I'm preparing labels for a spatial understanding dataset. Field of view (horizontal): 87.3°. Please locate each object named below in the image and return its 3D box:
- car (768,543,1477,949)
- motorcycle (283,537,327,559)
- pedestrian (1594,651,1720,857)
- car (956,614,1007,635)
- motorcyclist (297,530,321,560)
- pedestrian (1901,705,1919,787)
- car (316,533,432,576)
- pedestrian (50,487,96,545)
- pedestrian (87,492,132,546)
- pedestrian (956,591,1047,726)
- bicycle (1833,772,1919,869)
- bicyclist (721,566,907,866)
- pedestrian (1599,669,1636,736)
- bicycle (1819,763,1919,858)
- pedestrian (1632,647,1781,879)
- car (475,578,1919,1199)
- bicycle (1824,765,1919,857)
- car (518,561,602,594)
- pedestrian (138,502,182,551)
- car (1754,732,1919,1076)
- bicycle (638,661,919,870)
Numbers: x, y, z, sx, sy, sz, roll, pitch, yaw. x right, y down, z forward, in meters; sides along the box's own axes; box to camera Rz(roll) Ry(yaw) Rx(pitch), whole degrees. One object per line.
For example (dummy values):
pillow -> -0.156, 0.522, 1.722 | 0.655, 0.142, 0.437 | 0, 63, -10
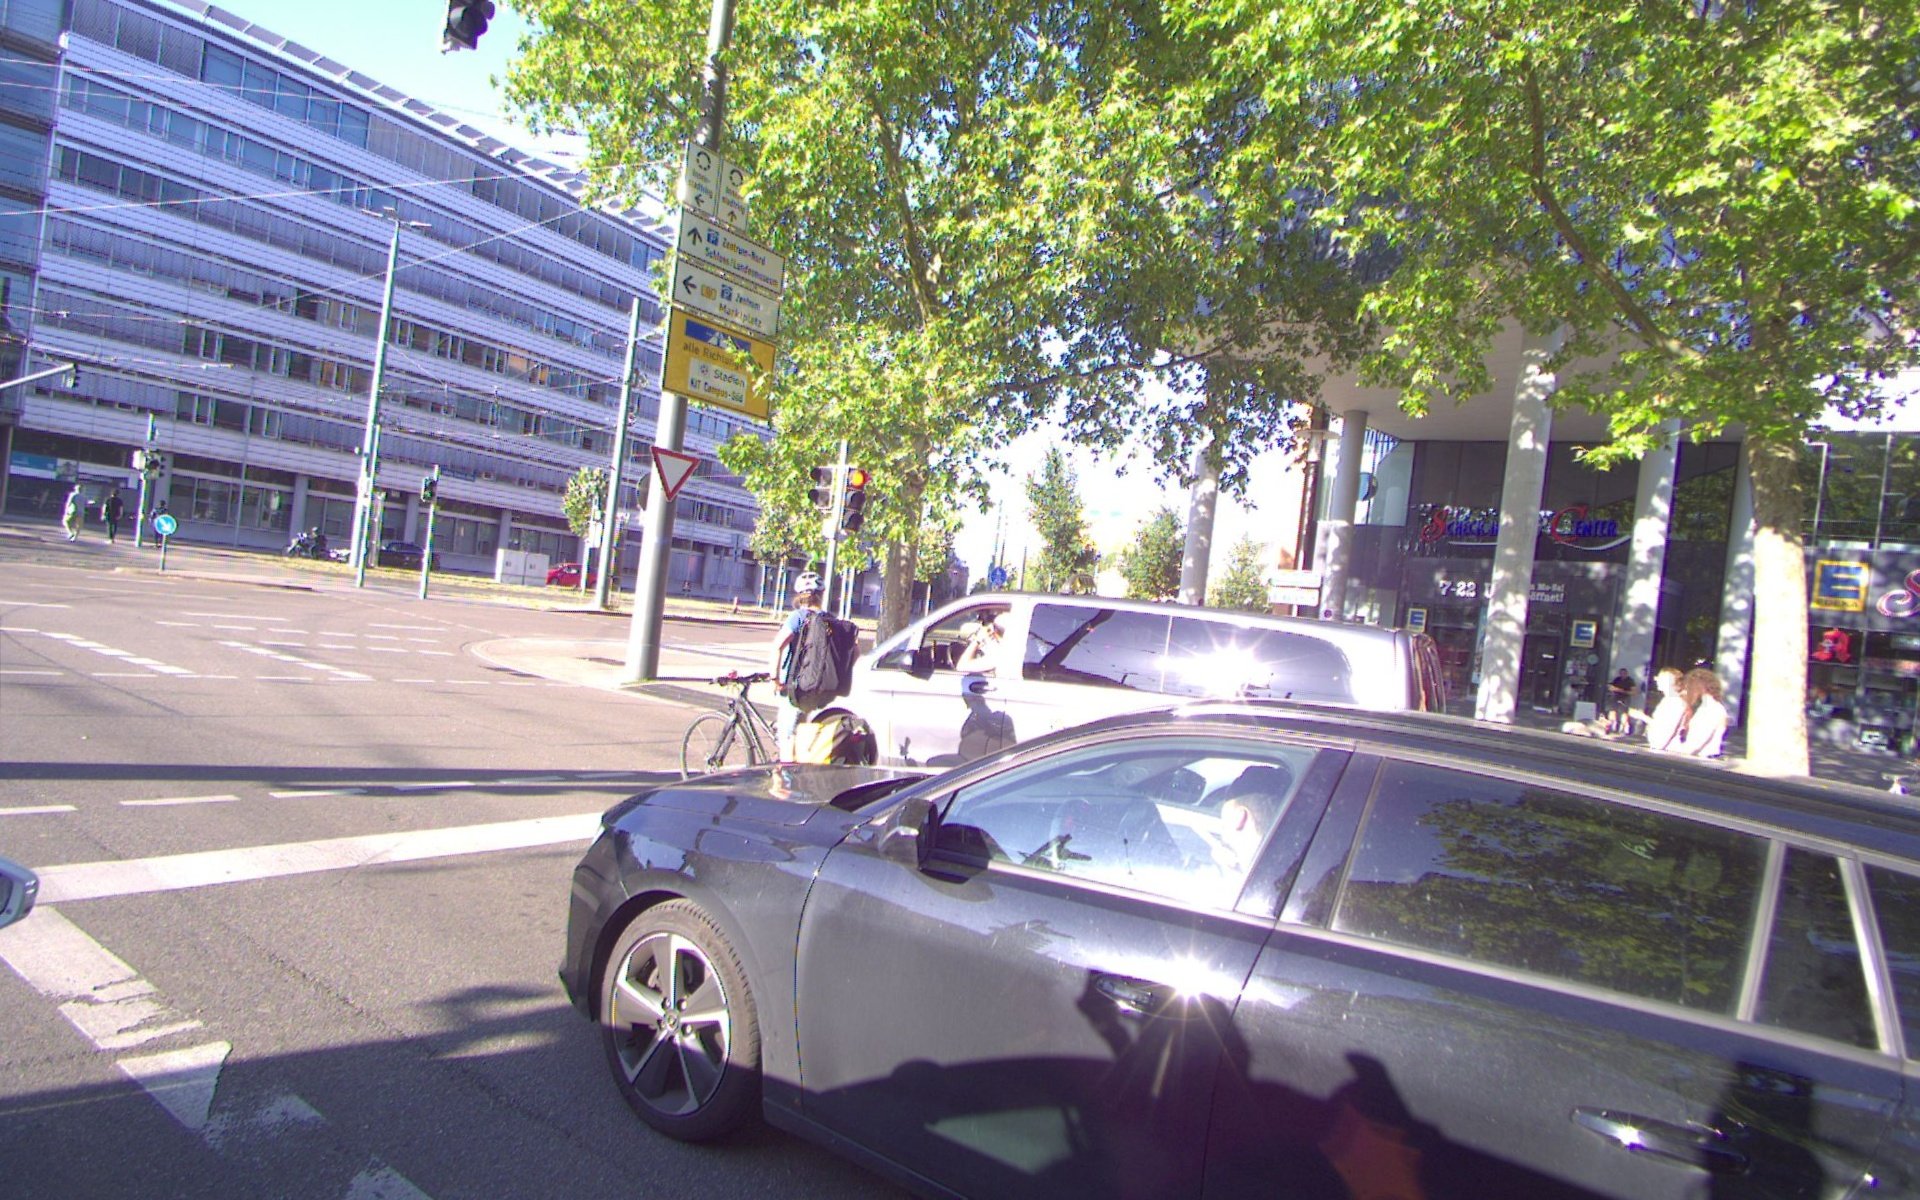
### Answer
car -> 1.112, 0.844, 7.960 | 5.012, 2.004, 1.939 | 7, 0, 31
motorcycle -> -30.120, -2.379, 46.281 | 0.460, 0.820, 1.568 | 7, 0, 36
pedestrian -> 6.662, 1.441, 9.658 | 0.751, 1.799, 0.647 | 7, 1, 30
car -> 1.838, 2.069, 84.509 | 1.758, 1.353, 4.605 | 7, 0, 37
motorcyclist -> -30.030, -2.537, 46.388 | 0.452, 1.291, 0.712 | 7, 1, 36
pedestrian -> 21.004, 3.193, 21.609 | 0.704, 1.728, 0.806 | 7, 1, 16
car -> -26.872, -2.057, 46.223 | 1.758, 1.415, 4.157 | 7, 0, 37
pedestrian -> -29.644, -2.794, 33.624 | 0.857, 1.811, 0.865 | 6, 1, -30
pedestrian -> -29.606, -2.813, 35.024 | 1.020, 1.706, 0.912 | 7, 1, 39
pedestrian -> 0.603, 0.831, 14.251 | 0.729, 1.769, 1.092 | 7, 0, 25
bicycle -> 10.544, 2.480, 11.102 | 1.233, 0.898, 0.462 | 7, 1, 32
bicyclist -> -0.919, 0.698, 6.386 | 0.766, 1.714, 0.632 | 7, 1, 32
pedestrian -> 17.499, 2.732, 26.769 | 0.598, 1.707, 0.511 | 6, 1, -41
bicycle -> 11.202, 2.546, 12.088 | 0.437, 0.930, 1.210 | 6, 0, -39
pedestrian -> 6.599, 1.406, 8.944 | 0.800, 1.868, 0.642 | 7, 1, 30
car -> 0.818, 0.936, 2.728 | 4.199, 1.431, 1.742 | 7, -2, 32
bicycle -> 11.500, 2.608, 12.360 | 0.460, 0.938, 1.210 | 6, 0, -39
car -> -22.567, -1.260, 56.865 | 1.758, 1.411, 3.984 | 7, 1, 37
pedestrian -> -28.446, -2.614, 35.756 | 0.883, 1.583, 0.947 | 7, 1, 39
car -> 6.507, 1.738, 4.603 | 4.181, 1.503, 1.741 | 7, 0, 31
bicycle -> -1.234, 1.024, 6.639 | 1.839, 0.993, 0.561 | 7, 1, 32
